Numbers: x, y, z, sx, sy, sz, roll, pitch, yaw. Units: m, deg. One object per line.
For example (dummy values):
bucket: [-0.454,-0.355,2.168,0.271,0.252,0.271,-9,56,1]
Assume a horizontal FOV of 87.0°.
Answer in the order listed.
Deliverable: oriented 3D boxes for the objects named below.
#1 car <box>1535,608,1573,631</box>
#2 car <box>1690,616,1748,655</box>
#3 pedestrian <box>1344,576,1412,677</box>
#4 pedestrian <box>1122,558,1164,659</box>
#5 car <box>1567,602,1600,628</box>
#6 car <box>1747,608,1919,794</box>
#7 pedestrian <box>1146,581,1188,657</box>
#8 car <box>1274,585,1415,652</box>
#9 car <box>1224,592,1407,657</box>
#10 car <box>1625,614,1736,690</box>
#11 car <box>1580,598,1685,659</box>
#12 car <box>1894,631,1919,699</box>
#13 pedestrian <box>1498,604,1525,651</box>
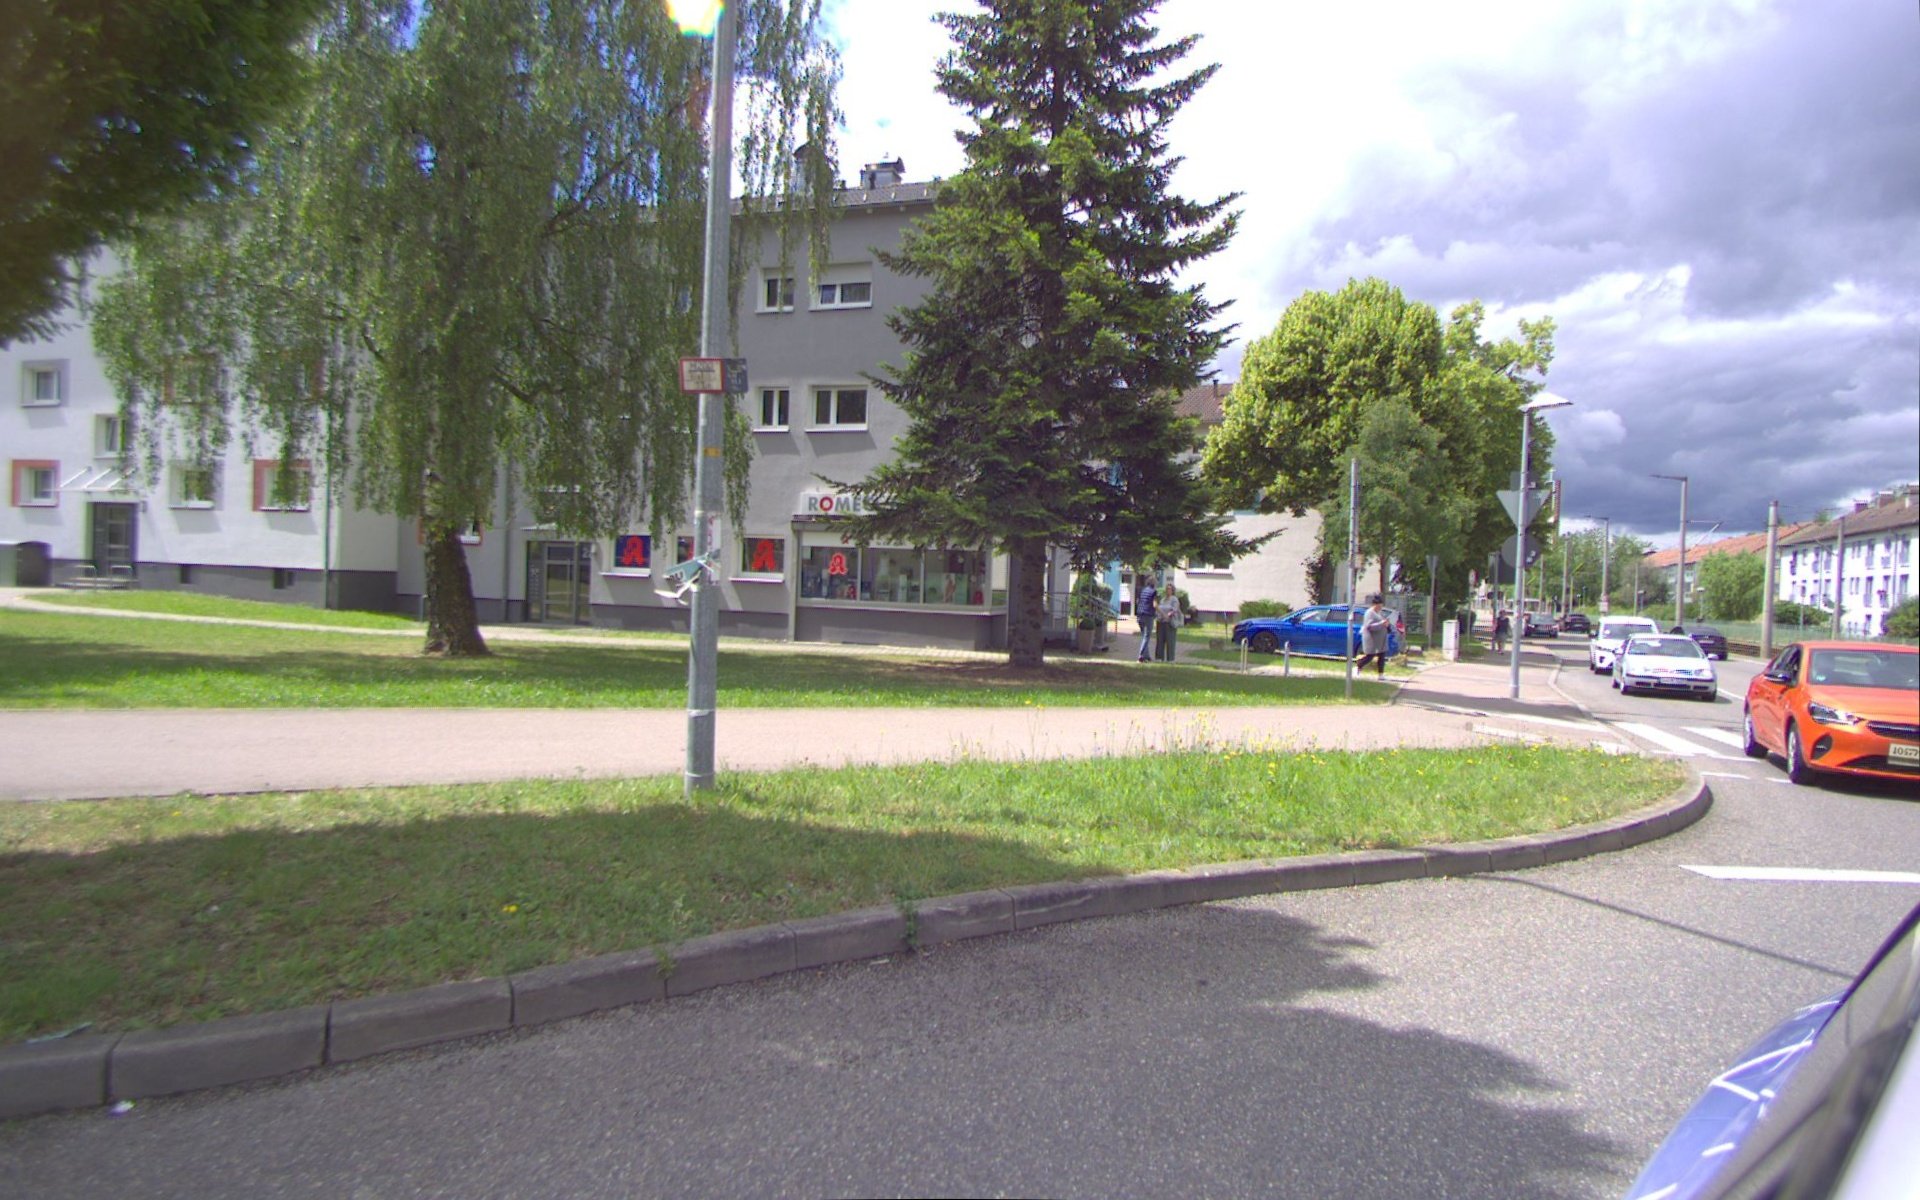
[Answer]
car: [39.283,1.279,66.845,1.907,1.333,3.952,4,2,33]
car: [32.203,1.467,42.903,1.814,1.400,4.554,4,2,38]
pedestrian: [8.531,0.521,20.691,0.924,1.980,0.843,3,1,-3]
pedestrian: [3.844,0.164,21.196,0.647,2.038,1.041,3,1,17]
car: [49.729,1.173,80.770,1.984,1.543,4.480,5,7,30]
car: [9.737,0.951,10.642,1.754,1.577,3.956,4,2,31]
pedestrian: [4.424,0.398,21.611,0.735,1.548,0.687,3,1,20]
car: [11.399,0.505,30.251,3.695,1.576,2.019,5,2,19]
car: [9.528,0.618,27.482,4.439,1.258,1.989,6,2,17]
car: [16.339,1.108,23.125,1.752,1.415,3.954,4,2,32]
car: [20.920,0.823,31.667,1.979,1.627,3.968,3,2,24]
car: [21.754,1.487,21.242,1.839,1.473,4.352,1,1,24]
pedestrian: [20.764,1.016,38.127,0.676,1.681,0.826,3,1,20]
